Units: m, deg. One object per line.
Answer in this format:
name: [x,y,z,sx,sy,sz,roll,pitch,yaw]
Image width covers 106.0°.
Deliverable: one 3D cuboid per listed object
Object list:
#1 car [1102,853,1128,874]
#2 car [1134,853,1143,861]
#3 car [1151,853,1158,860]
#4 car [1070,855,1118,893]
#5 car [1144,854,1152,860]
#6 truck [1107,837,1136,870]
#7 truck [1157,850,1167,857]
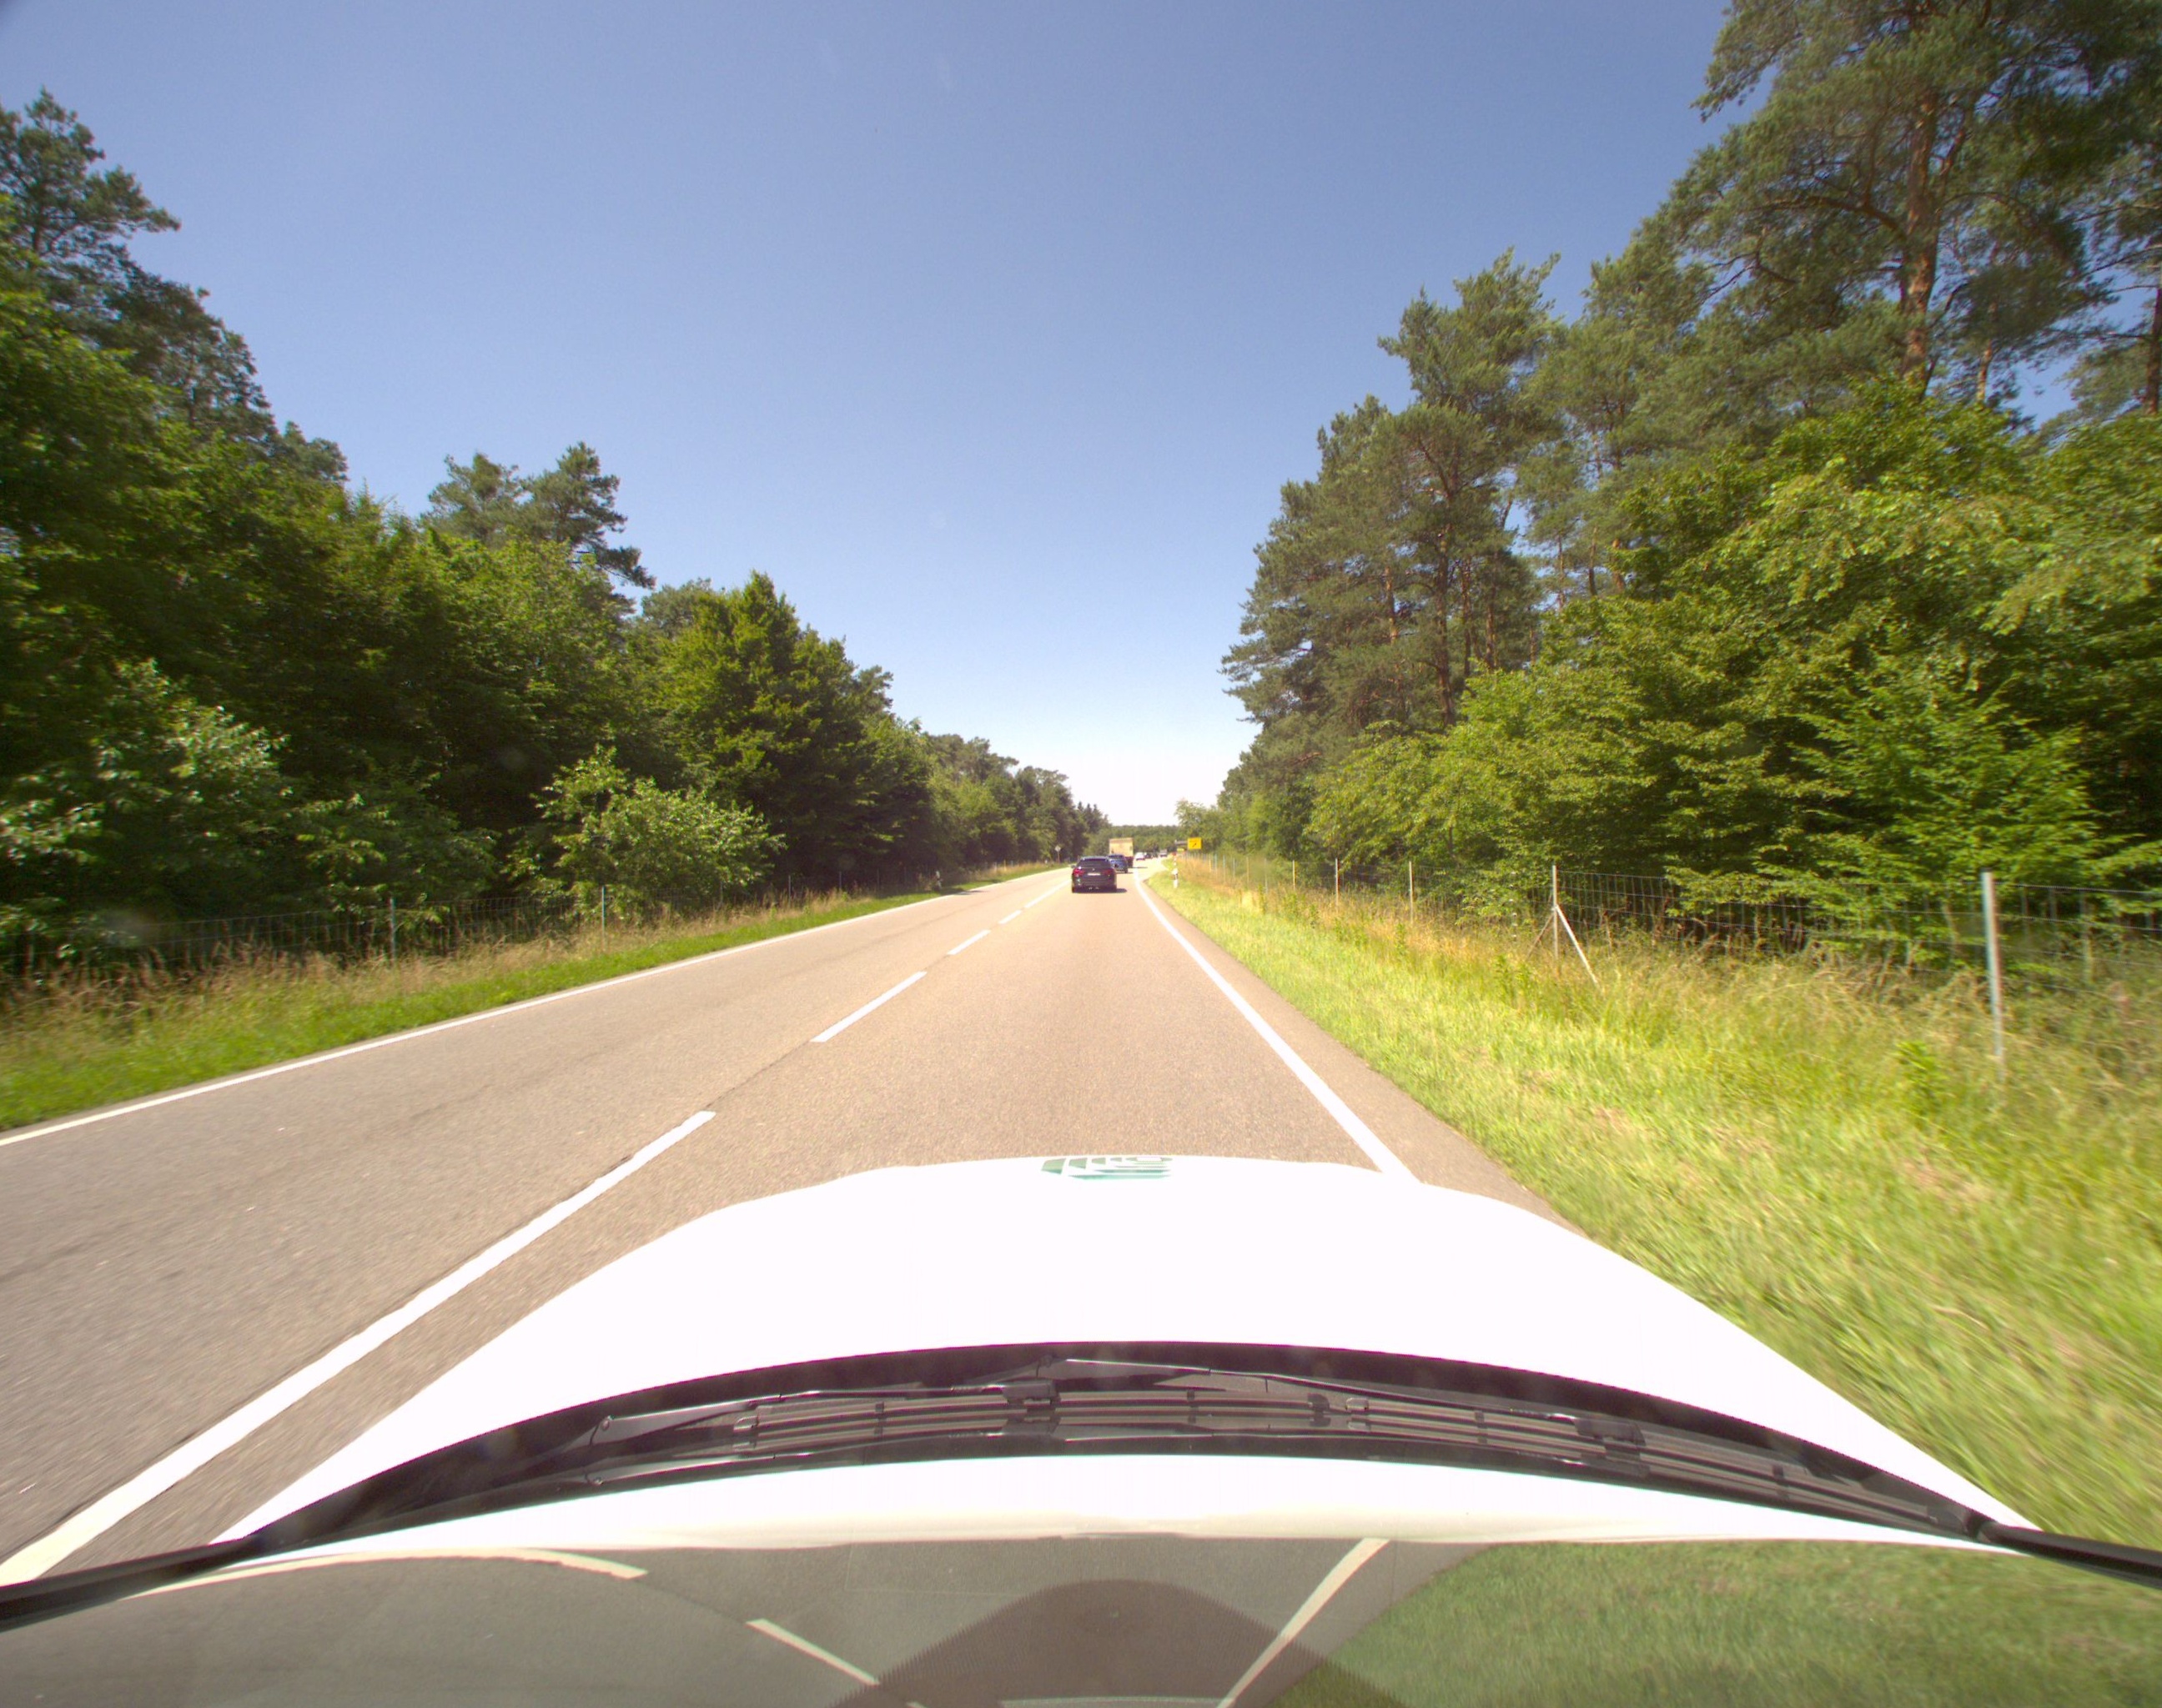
car: [2.747,0.776,66.383,1.940,1.541,4.002,-3,0,2]
car: [12.489,0.633,177.029,1.856,1.605,4.001,-2,0,1]
car: [20.765,0.662,229.514,1.983,1.636,4.007,-3,0,6]
car: [0.480,0.791,34.346,1.816,1.470,3.997,-2,0,-2]
car: [16.937,0.710,206.985,1.984,1.420,4.006,-1,0,5]
truck: [4.550,-0.063,90.285,2.952,3.387,6.445,-2,0,4]
truck: [26.064,-0.035,261.467,2.555,2.202,4.974,-2,0,0]
